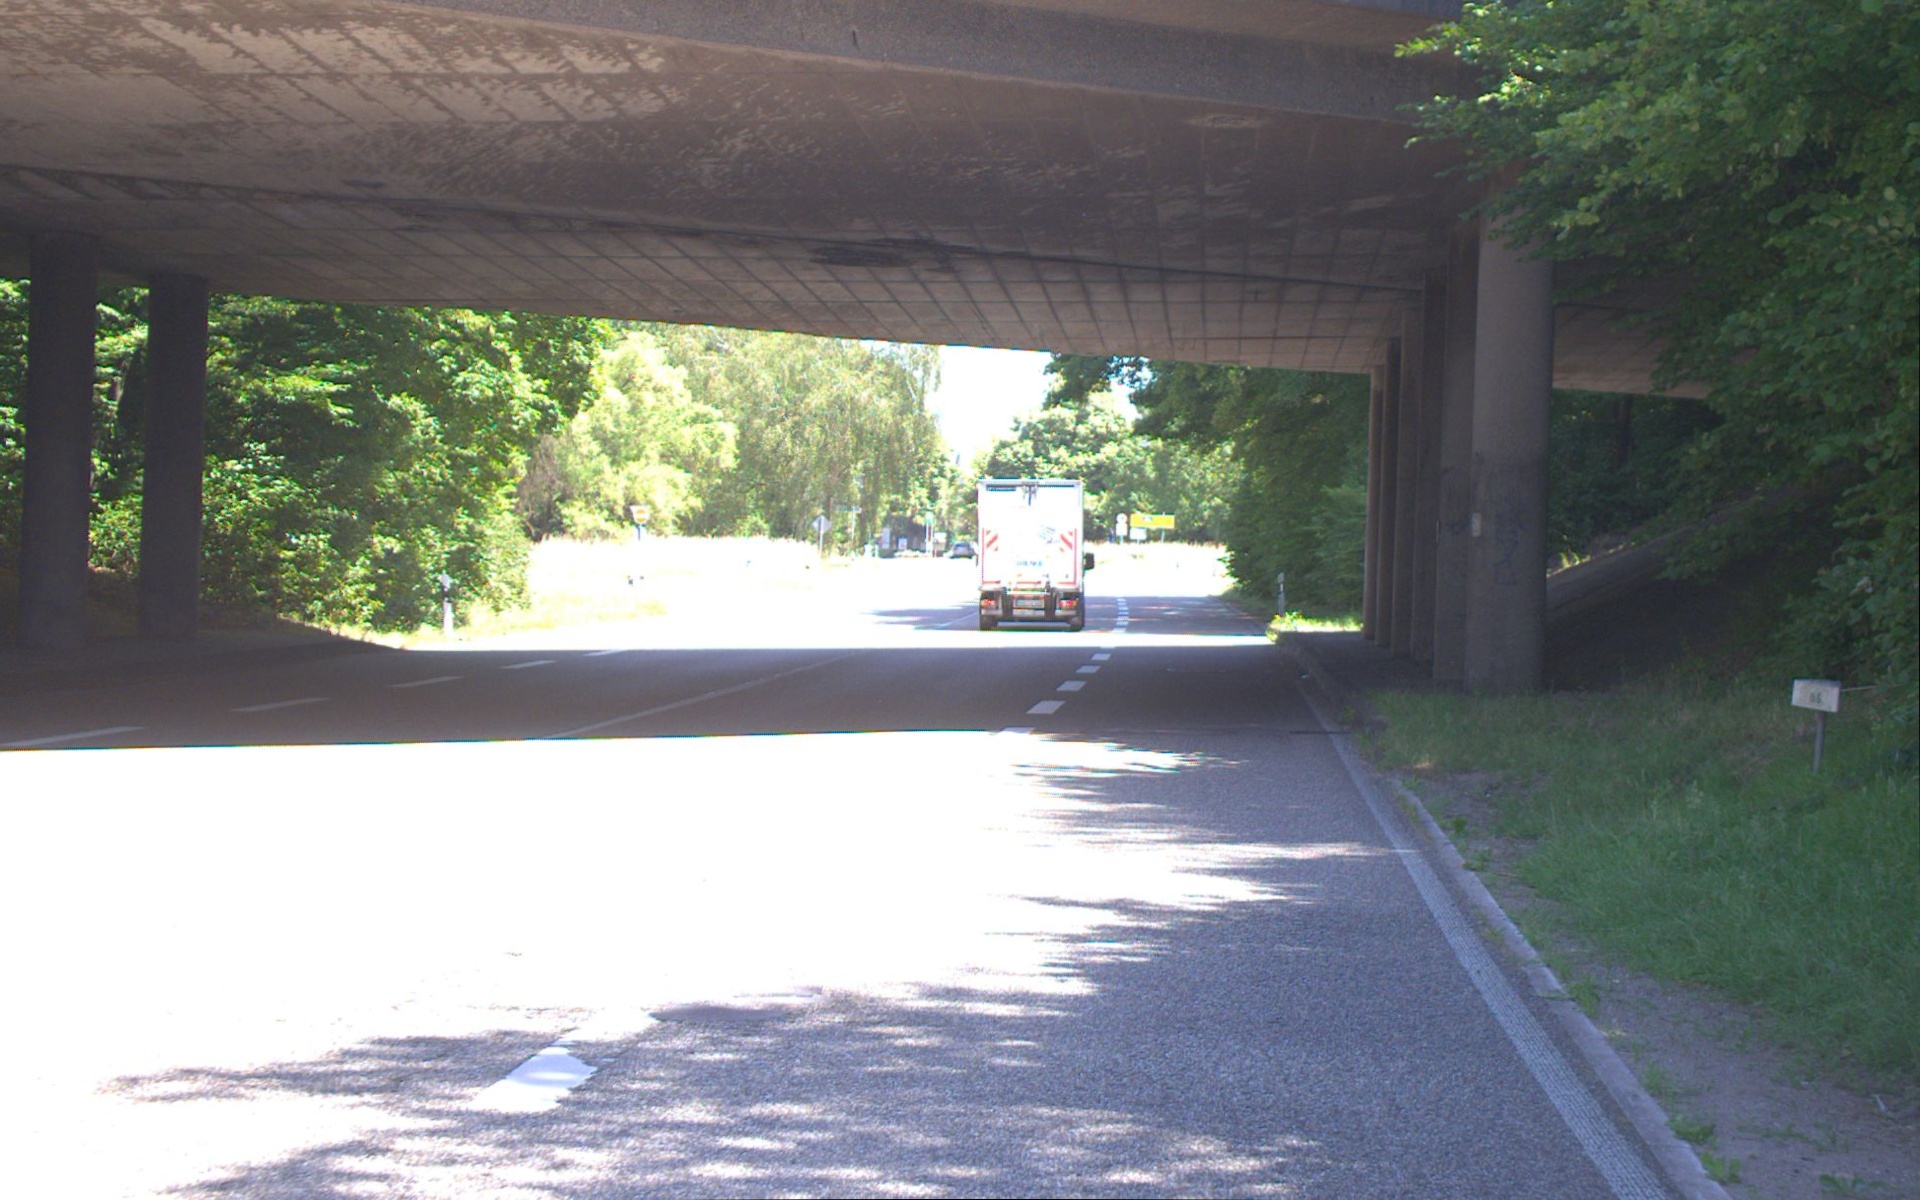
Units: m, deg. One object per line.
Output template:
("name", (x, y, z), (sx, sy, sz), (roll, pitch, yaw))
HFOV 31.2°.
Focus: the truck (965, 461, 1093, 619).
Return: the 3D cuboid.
("truck", (1.437, -1.162, 69.239), (2.241, 2.974, 5.894), (2, 0, 3))
